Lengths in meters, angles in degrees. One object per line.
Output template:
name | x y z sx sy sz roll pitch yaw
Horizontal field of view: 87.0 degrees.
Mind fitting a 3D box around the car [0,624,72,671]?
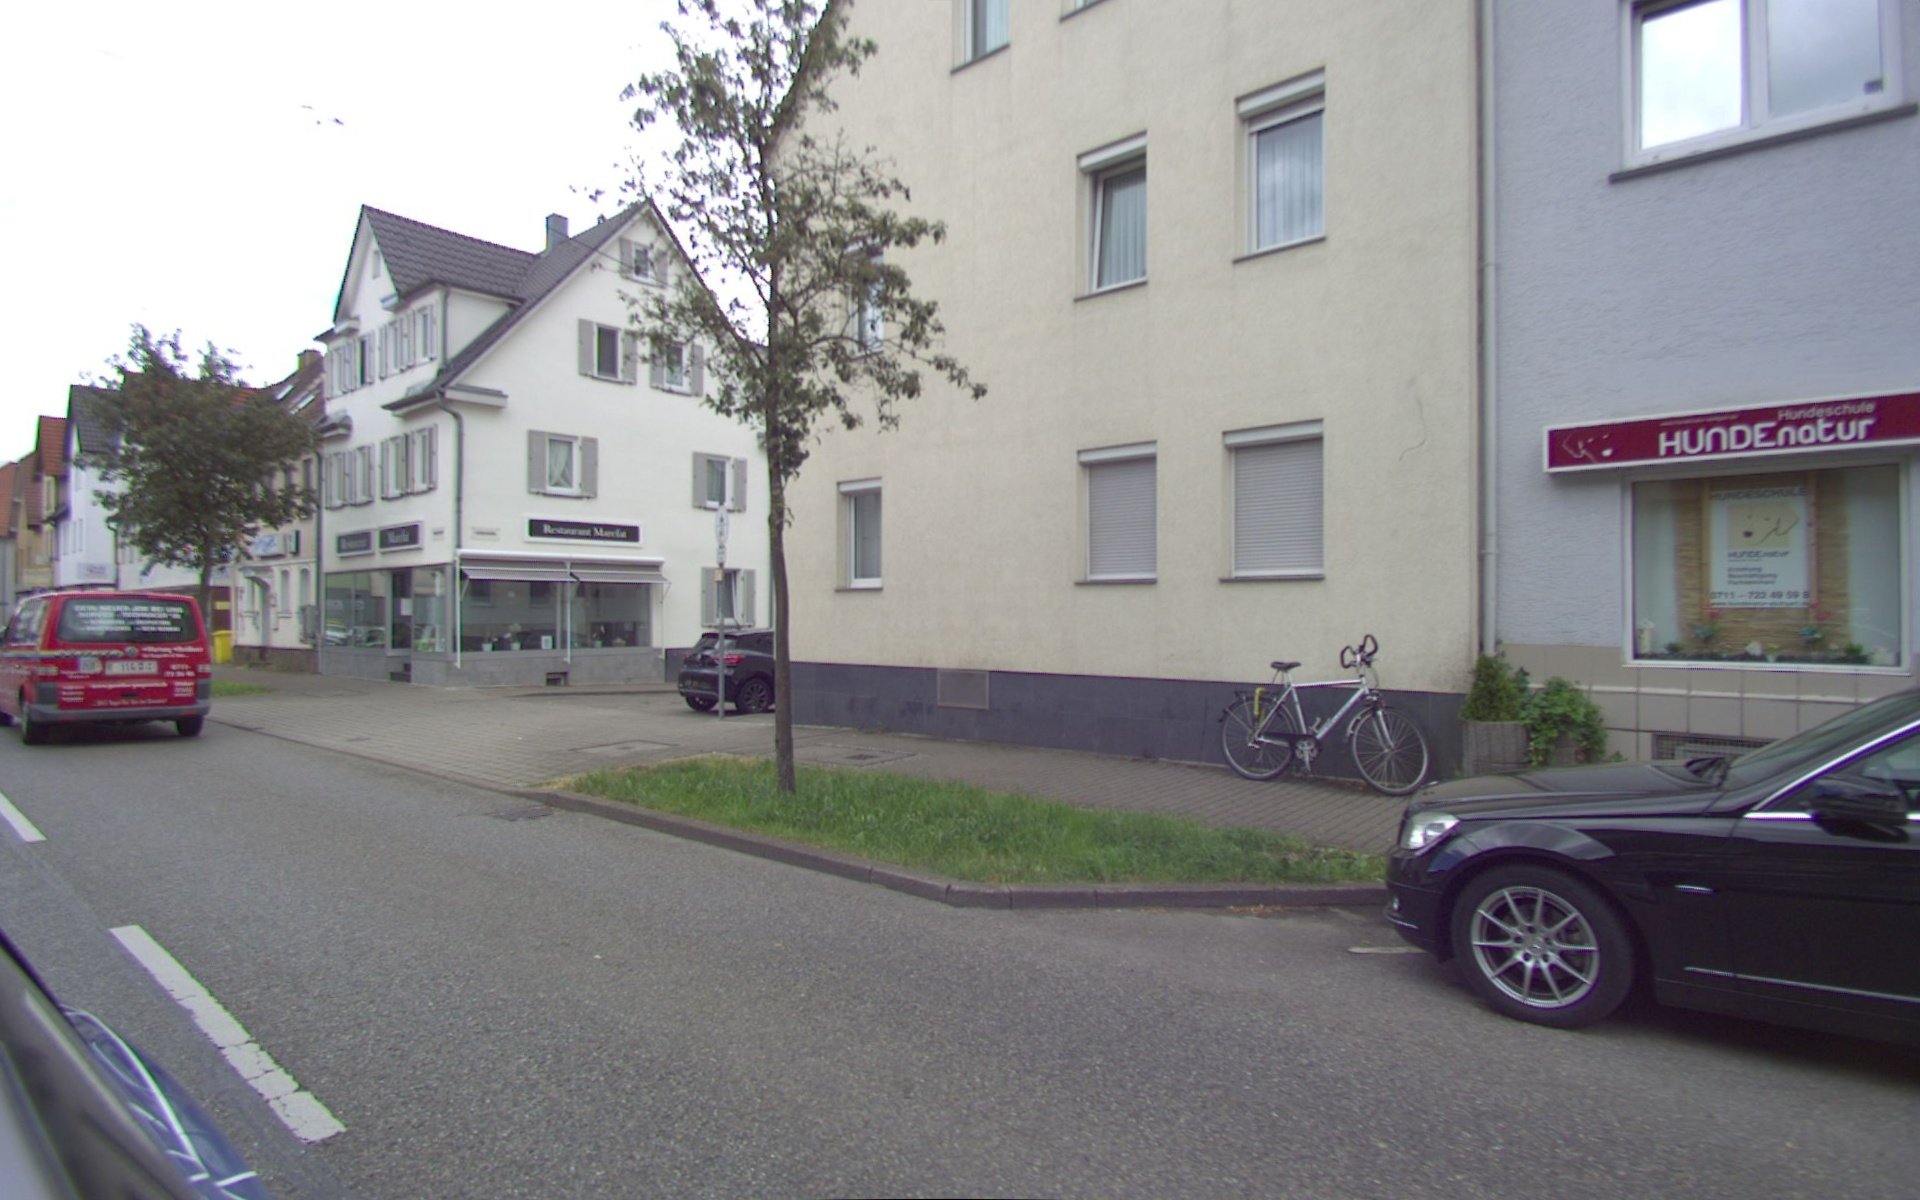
car | -34.253 1.711 37.289 4.304 1.611 1.784 -1 -2 42

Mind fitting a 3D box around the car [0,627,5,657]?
car | -50.378 2.143 51.924 3.590 1.504 1.664 -1 -2 42

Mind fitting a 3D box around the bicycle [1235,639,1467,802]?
bicycle | 3.132 0.915 8.196 1.664 1.162 0.509 -1 0 39

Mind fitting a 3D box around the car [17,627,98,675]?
car | -30.266 1.677 33.905 3.811 1.519 1.565 -1 -3 42

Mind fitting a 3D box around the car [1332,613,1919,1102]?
car | 3.890 0.814 3.503 4.515 1.479 1.927 -1 -3 42

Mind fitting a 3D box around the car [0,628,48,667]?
car | -38.480 1.912 41.158 3.774 1.511 1.664 -1 -2 42

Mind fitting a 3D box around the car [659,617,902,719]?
car | -2.978 1.154 17.495 1.733 1.546 3.948 -1 -4 38

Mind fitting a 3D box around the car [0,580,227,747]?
car | -12.378 0.816 14.368 5.218 1.977 1.928 -1 -3 40
